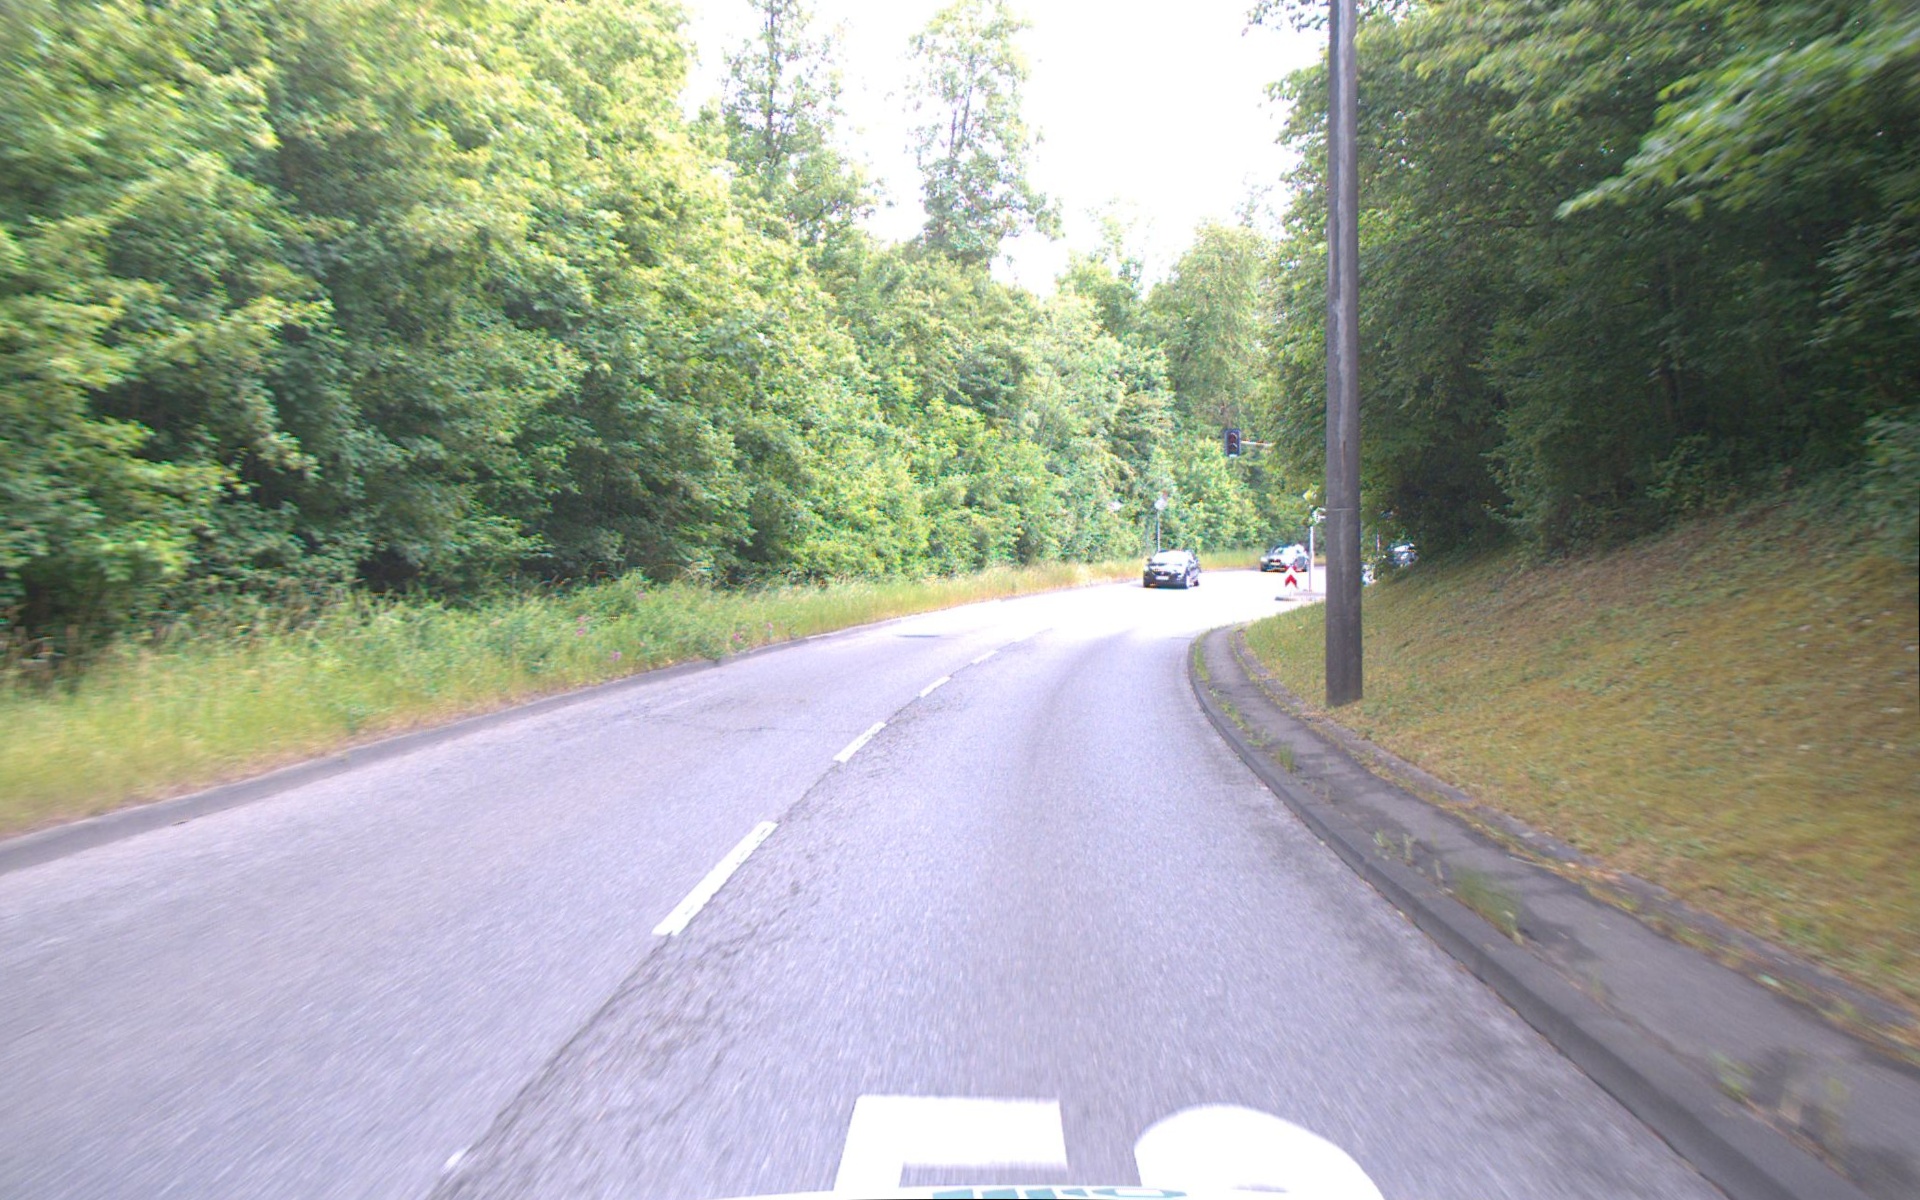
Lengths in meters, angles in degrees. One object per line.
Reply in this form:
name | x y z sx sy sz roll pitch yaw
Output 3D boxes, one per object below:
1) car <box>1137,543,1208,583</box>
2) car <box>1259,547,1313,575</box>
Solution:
car | 8.428 -1.452 65.271 1.765 1.459 4.661 3 2 20
car | 17.598 -2.088 89.136 1.860 1.377 4.841 4 2 23
